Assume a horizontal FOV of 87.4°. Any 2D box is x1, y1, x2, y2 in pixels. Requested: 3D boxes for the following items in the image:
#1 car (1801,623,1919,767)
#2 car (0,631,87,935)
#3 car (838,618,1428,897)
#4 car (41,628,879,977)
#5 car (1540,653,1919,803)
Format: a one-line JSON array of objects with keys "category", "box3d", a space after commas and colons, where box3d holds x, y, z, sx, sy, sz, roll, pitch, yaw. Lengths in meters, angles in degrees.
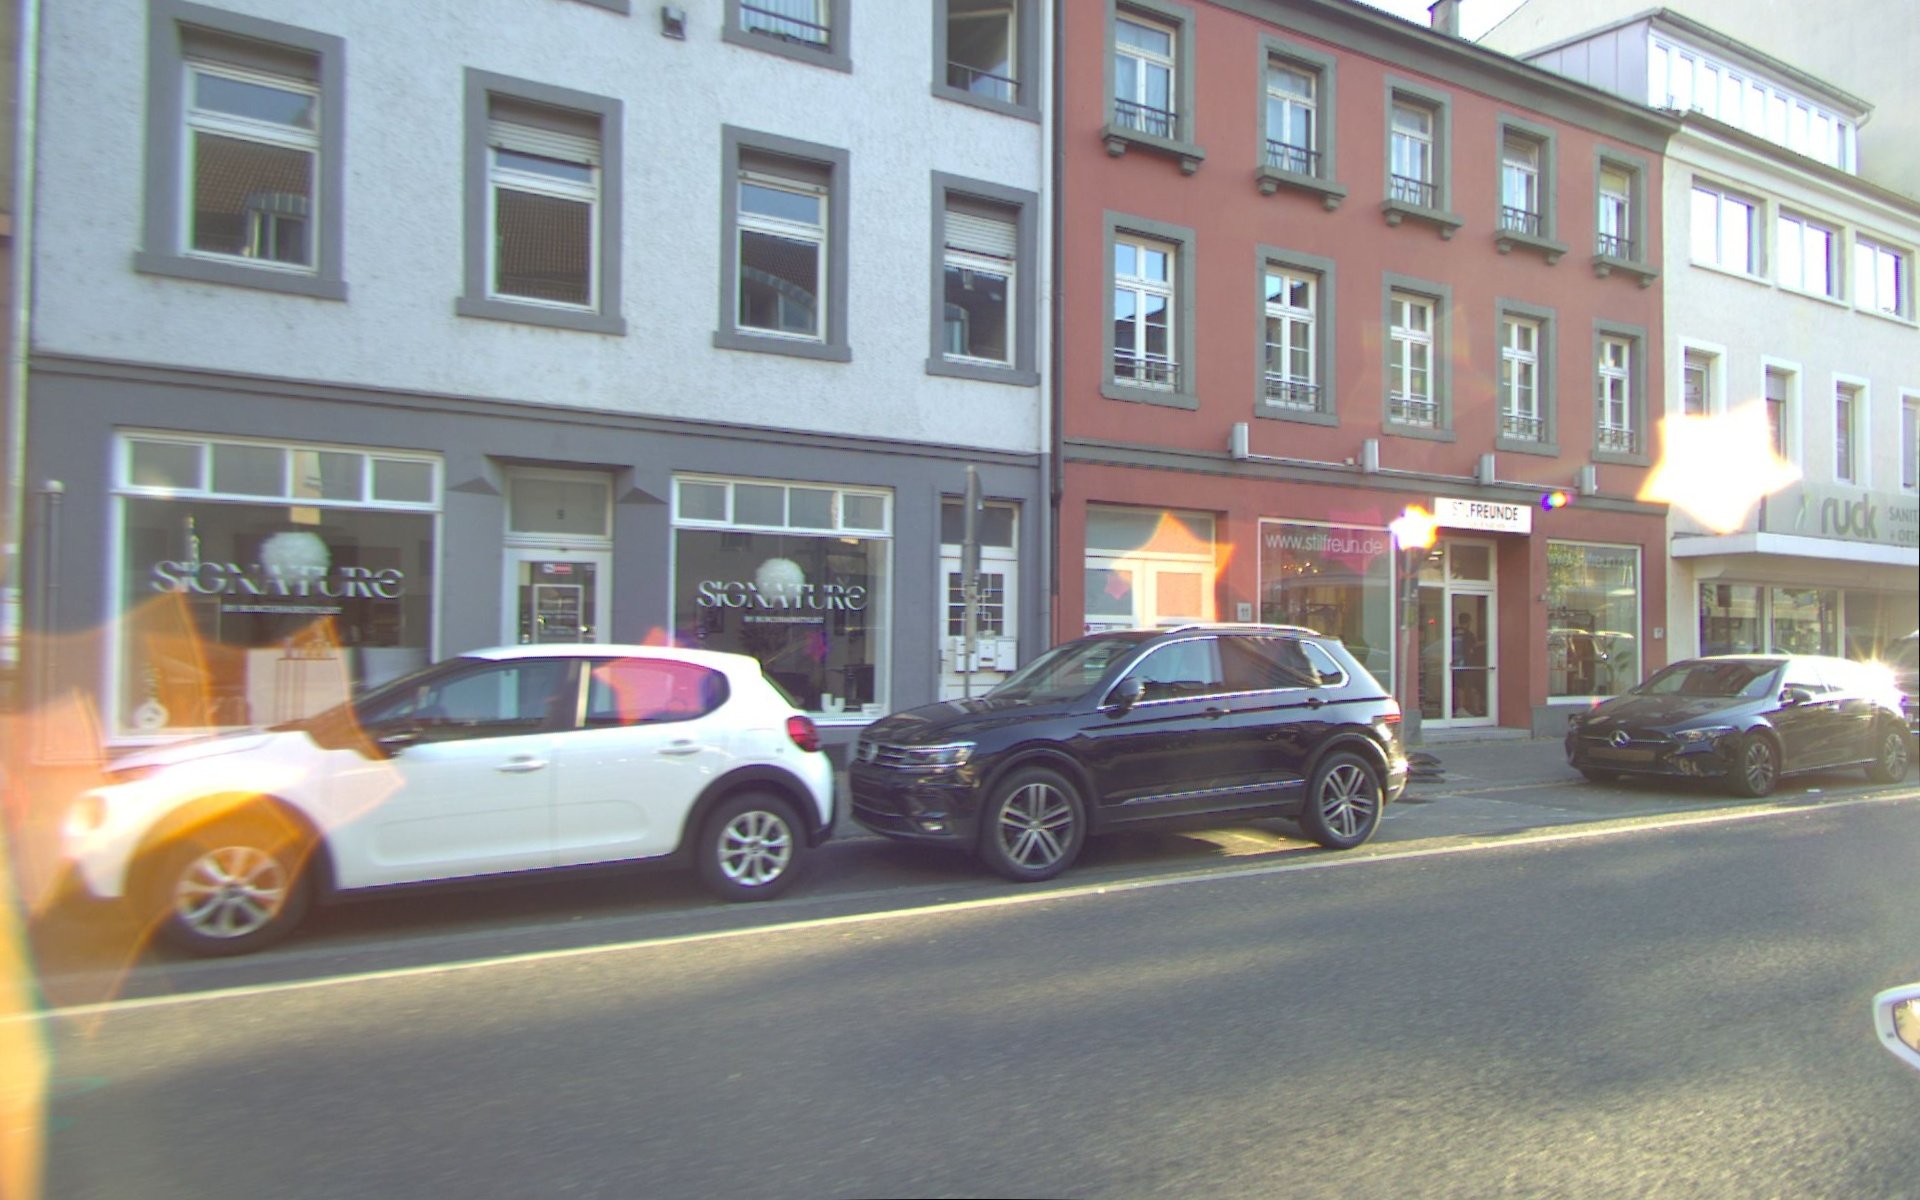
[{"category": "car", "box3d": [14.432, 1.285, 14.287, 5.279, 1.833, 1.821, 1, -3, -27]}, {"category": "car", "box3d": [-6.441, 0.896, 4.455, 3.436, 1.534, 1.770, 1, -4, -24]}, {"category": "car", "box3d": [1.326, 1.029, 7.672, 4.179, 1.654, 1.770, 1, -4, -24]}, {"category": "car", "box3d": [-2.617, 0.989, 6.072, 3.895, 1.534, 1.770, 1, -4, -24]}, {"category": "car", "box3d": [8.864, 1.344, 11.506, 4.250, 1.459, 1.709, 1, -3, -25]}]
